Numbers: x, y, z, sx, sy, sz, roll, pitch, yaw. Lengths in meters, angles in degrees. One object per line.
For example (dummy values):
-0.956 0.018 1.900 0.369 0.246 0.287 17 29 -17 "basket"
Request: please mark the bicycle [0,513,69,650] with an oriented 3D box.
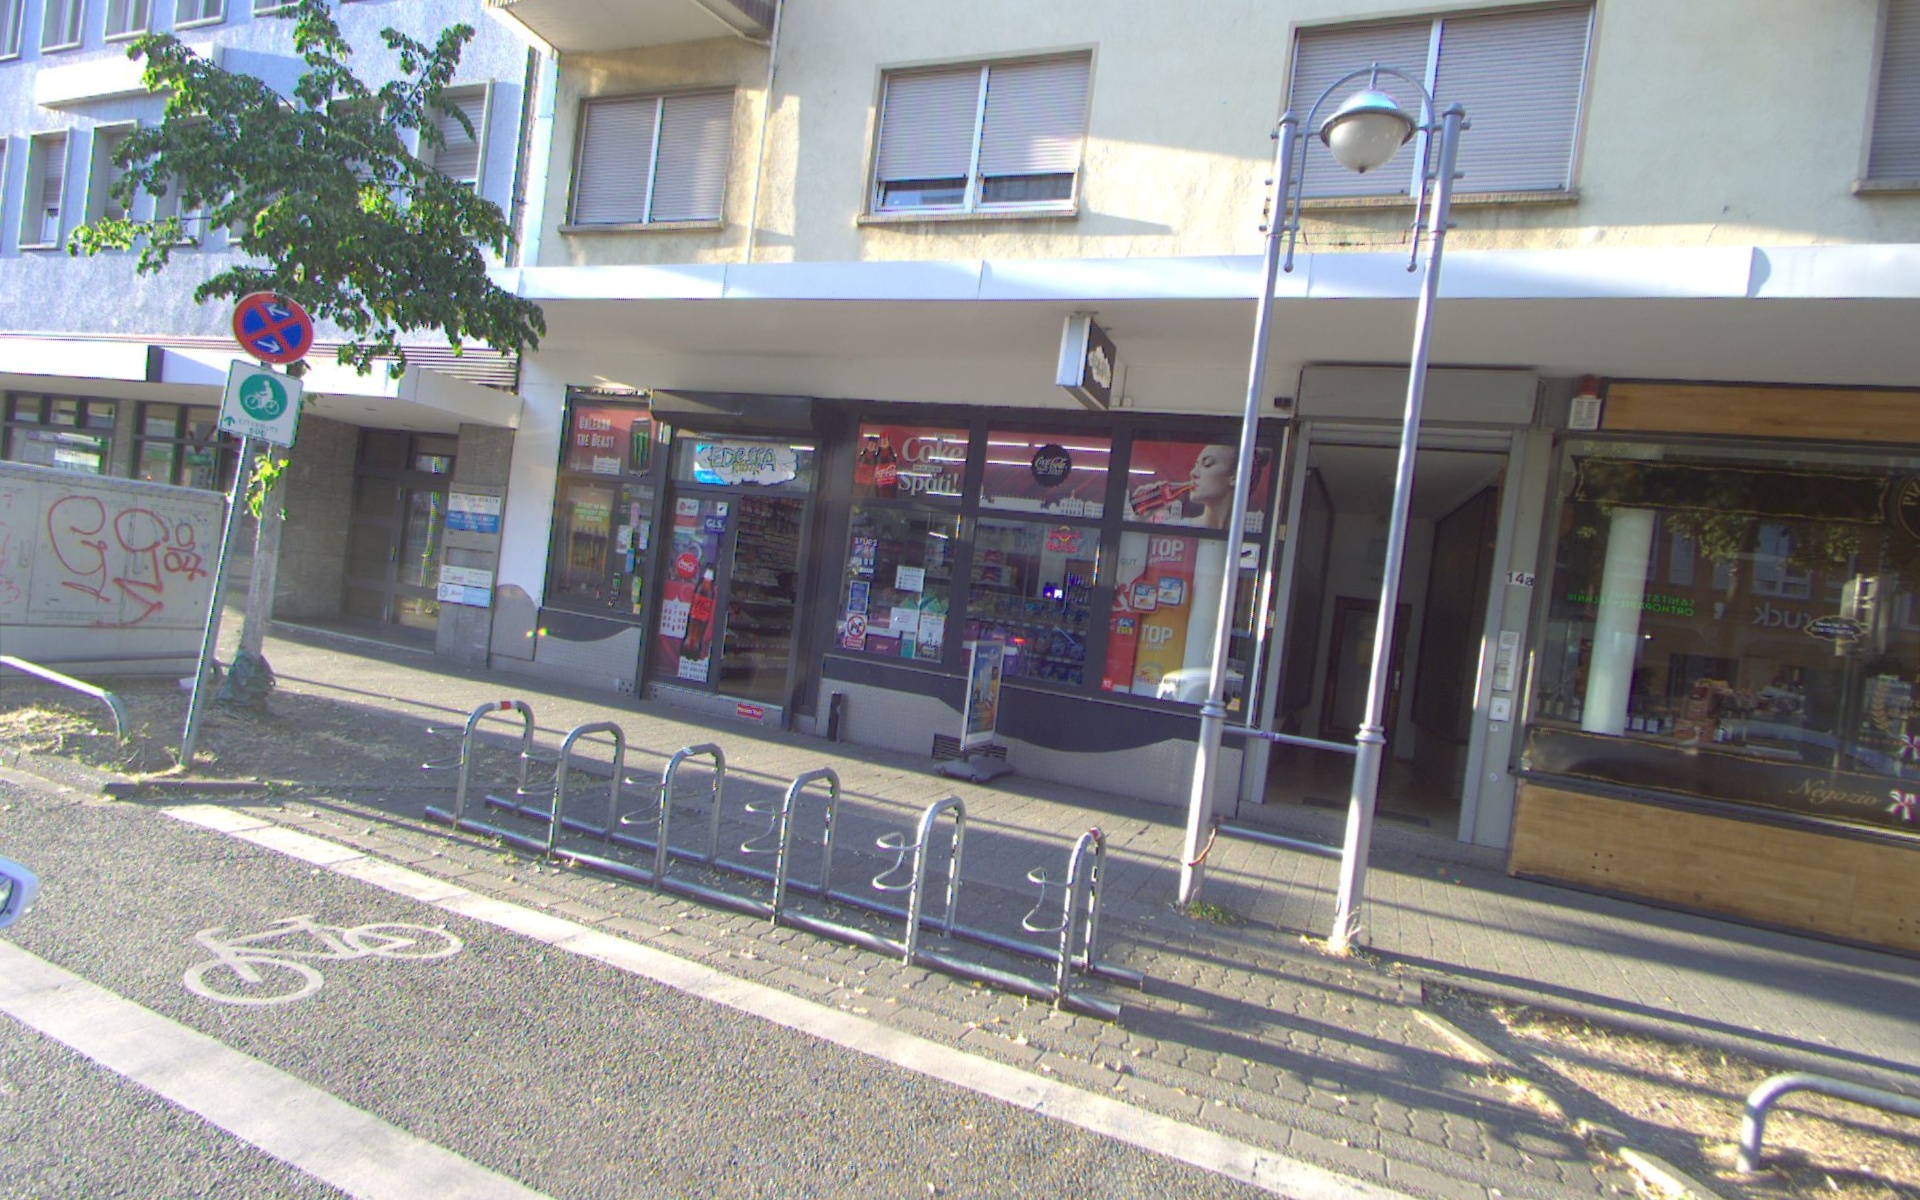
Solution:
-9.113 -0.219 9.088 0.376 1.234 1.446 7 -1 25 "bicycle"
